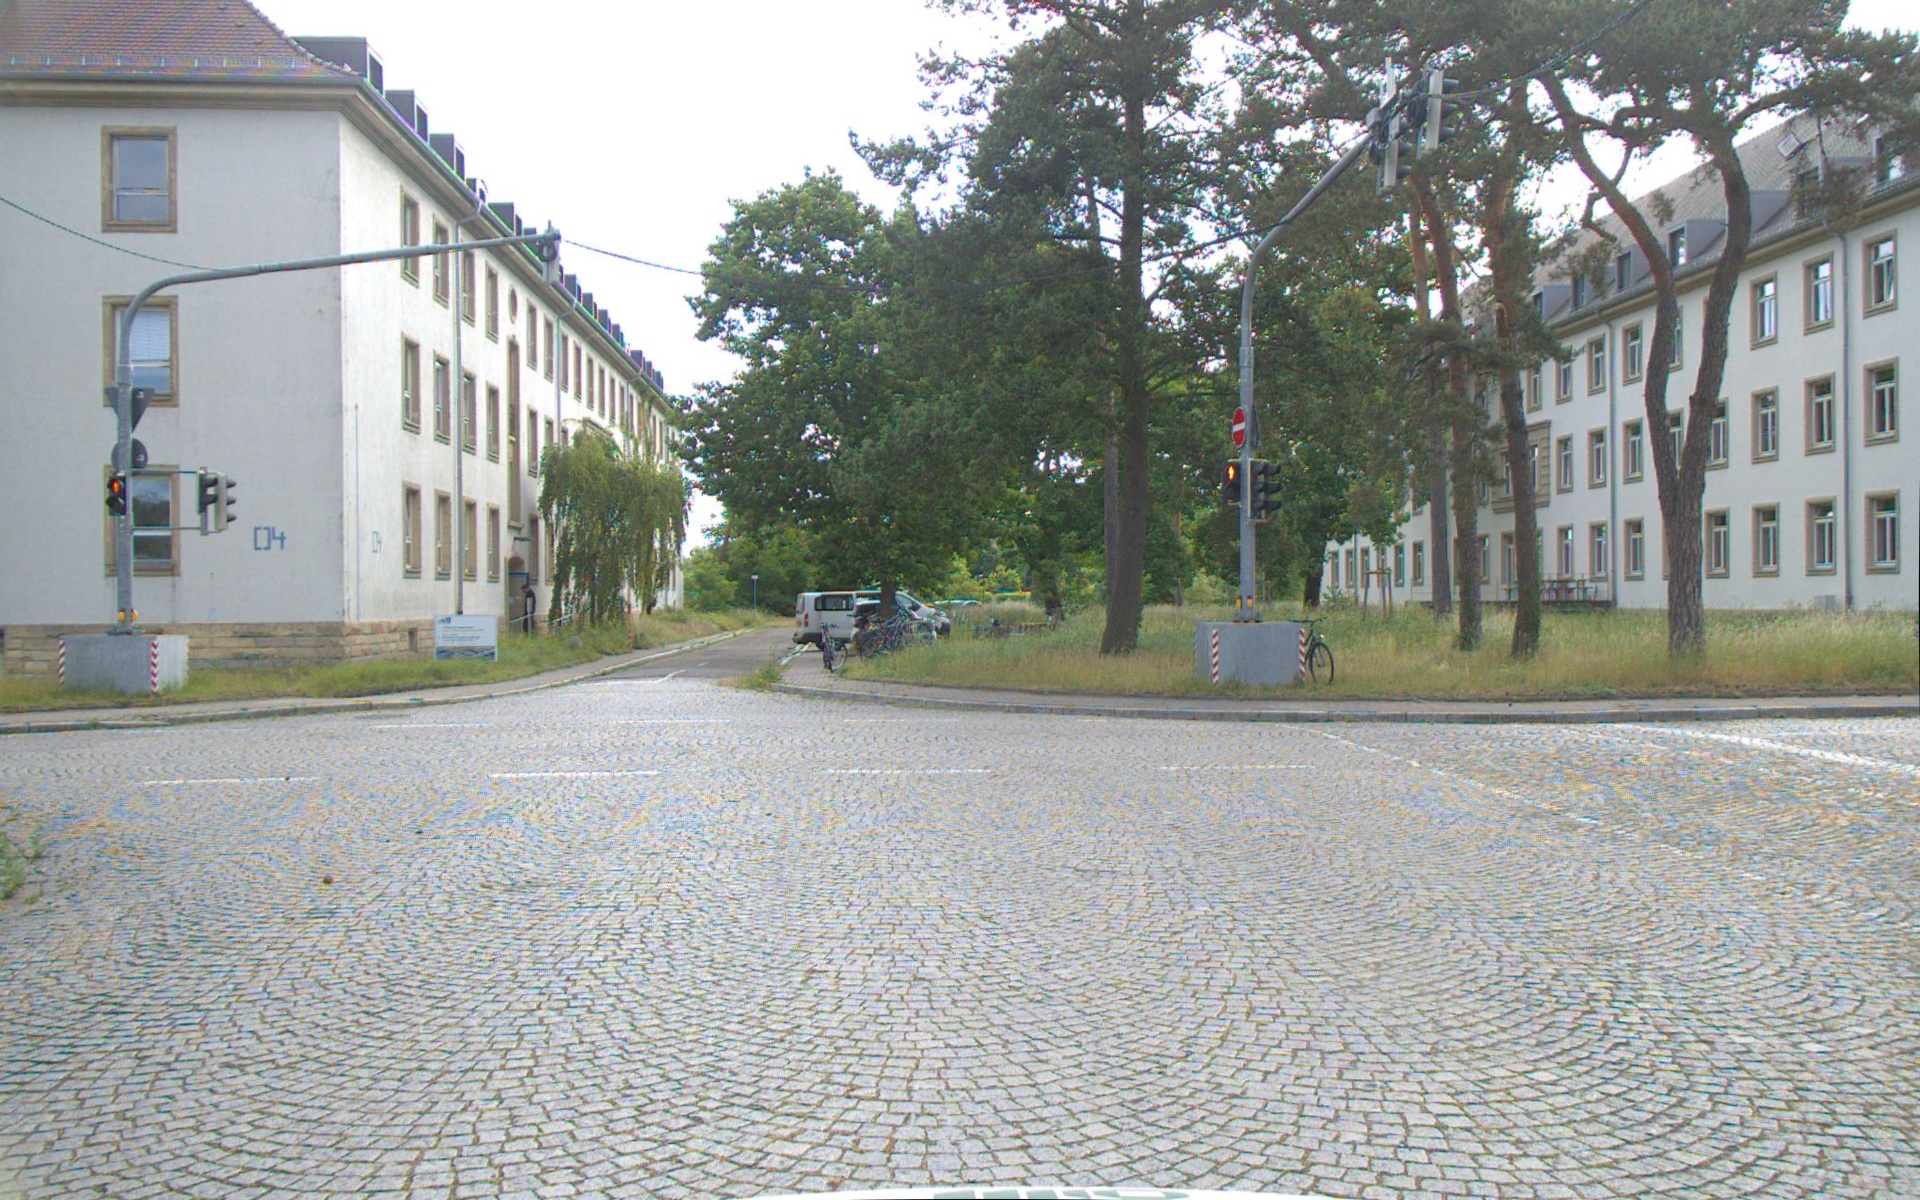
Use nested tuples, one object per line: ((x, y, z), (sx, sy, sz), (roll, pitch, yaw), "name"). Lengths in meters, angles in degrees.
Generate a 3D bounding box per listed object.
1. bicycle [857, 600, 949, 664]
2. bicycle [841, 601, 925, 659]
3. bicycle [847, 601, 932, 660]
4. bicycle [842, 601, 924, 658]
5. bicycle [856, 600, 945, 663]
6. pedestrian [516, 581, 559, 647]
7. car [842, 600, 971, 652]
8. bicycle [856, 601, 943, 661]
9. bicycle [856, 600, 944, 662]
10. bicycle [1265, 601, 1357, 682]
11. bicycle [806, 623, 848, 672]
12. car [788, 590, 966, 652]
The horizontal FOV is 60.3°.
((-1.288, 0.709, 37.349), (2.028, 1.402, 0.619), (-1, 0, -3), "bicycle")
((-1.906, 0.729, 40.945), (2.028, 1.402, 0.619), (-1, 0, -3), "bicycle")
((-1.715, 0.725, 40.217), (2.028, 1.402, 0.619), (-1, 0, -3), "bicycle")
((-1.935, 0.736, 41.691), (2.028, 1.402, 0.619), (-1, 0, -3), "bicycle")
((-1.369, 0.713, 38.015), (2.028, 1.402, 0.619), (-1, 0, -3), "bicycle")
((-13.316, 0.436, 52.140), (1.064, 2.049, 1.022), (-1, 0, 2), "pedestrian")
((-1.704, 0.799, 51.861), (3.859, 1.571, 1.996), (-1, 0, -8), "car")
((-1.447, 0.725, 39.434), (2.028, 1.402, 0.619), (-1, 0, -3), "bicycle")
((-1.409, 0.718, 38.639), (2.028, 1.402, 0.619), (-1, 0, -3), "bicycle")
((5.374, 0.614, 25.466), (0.891, 1.197, 1.873), (-1, 0, -4), "bicycle")
((-2.842, 1.002, 35.455), (0.605, 0.980, 2.077), (-1, 0, 3), "bicycle")
((-2.774, 0.664, 55.171), (5.599, 1.944, 2.220), (-1, 0, -16), "car")
